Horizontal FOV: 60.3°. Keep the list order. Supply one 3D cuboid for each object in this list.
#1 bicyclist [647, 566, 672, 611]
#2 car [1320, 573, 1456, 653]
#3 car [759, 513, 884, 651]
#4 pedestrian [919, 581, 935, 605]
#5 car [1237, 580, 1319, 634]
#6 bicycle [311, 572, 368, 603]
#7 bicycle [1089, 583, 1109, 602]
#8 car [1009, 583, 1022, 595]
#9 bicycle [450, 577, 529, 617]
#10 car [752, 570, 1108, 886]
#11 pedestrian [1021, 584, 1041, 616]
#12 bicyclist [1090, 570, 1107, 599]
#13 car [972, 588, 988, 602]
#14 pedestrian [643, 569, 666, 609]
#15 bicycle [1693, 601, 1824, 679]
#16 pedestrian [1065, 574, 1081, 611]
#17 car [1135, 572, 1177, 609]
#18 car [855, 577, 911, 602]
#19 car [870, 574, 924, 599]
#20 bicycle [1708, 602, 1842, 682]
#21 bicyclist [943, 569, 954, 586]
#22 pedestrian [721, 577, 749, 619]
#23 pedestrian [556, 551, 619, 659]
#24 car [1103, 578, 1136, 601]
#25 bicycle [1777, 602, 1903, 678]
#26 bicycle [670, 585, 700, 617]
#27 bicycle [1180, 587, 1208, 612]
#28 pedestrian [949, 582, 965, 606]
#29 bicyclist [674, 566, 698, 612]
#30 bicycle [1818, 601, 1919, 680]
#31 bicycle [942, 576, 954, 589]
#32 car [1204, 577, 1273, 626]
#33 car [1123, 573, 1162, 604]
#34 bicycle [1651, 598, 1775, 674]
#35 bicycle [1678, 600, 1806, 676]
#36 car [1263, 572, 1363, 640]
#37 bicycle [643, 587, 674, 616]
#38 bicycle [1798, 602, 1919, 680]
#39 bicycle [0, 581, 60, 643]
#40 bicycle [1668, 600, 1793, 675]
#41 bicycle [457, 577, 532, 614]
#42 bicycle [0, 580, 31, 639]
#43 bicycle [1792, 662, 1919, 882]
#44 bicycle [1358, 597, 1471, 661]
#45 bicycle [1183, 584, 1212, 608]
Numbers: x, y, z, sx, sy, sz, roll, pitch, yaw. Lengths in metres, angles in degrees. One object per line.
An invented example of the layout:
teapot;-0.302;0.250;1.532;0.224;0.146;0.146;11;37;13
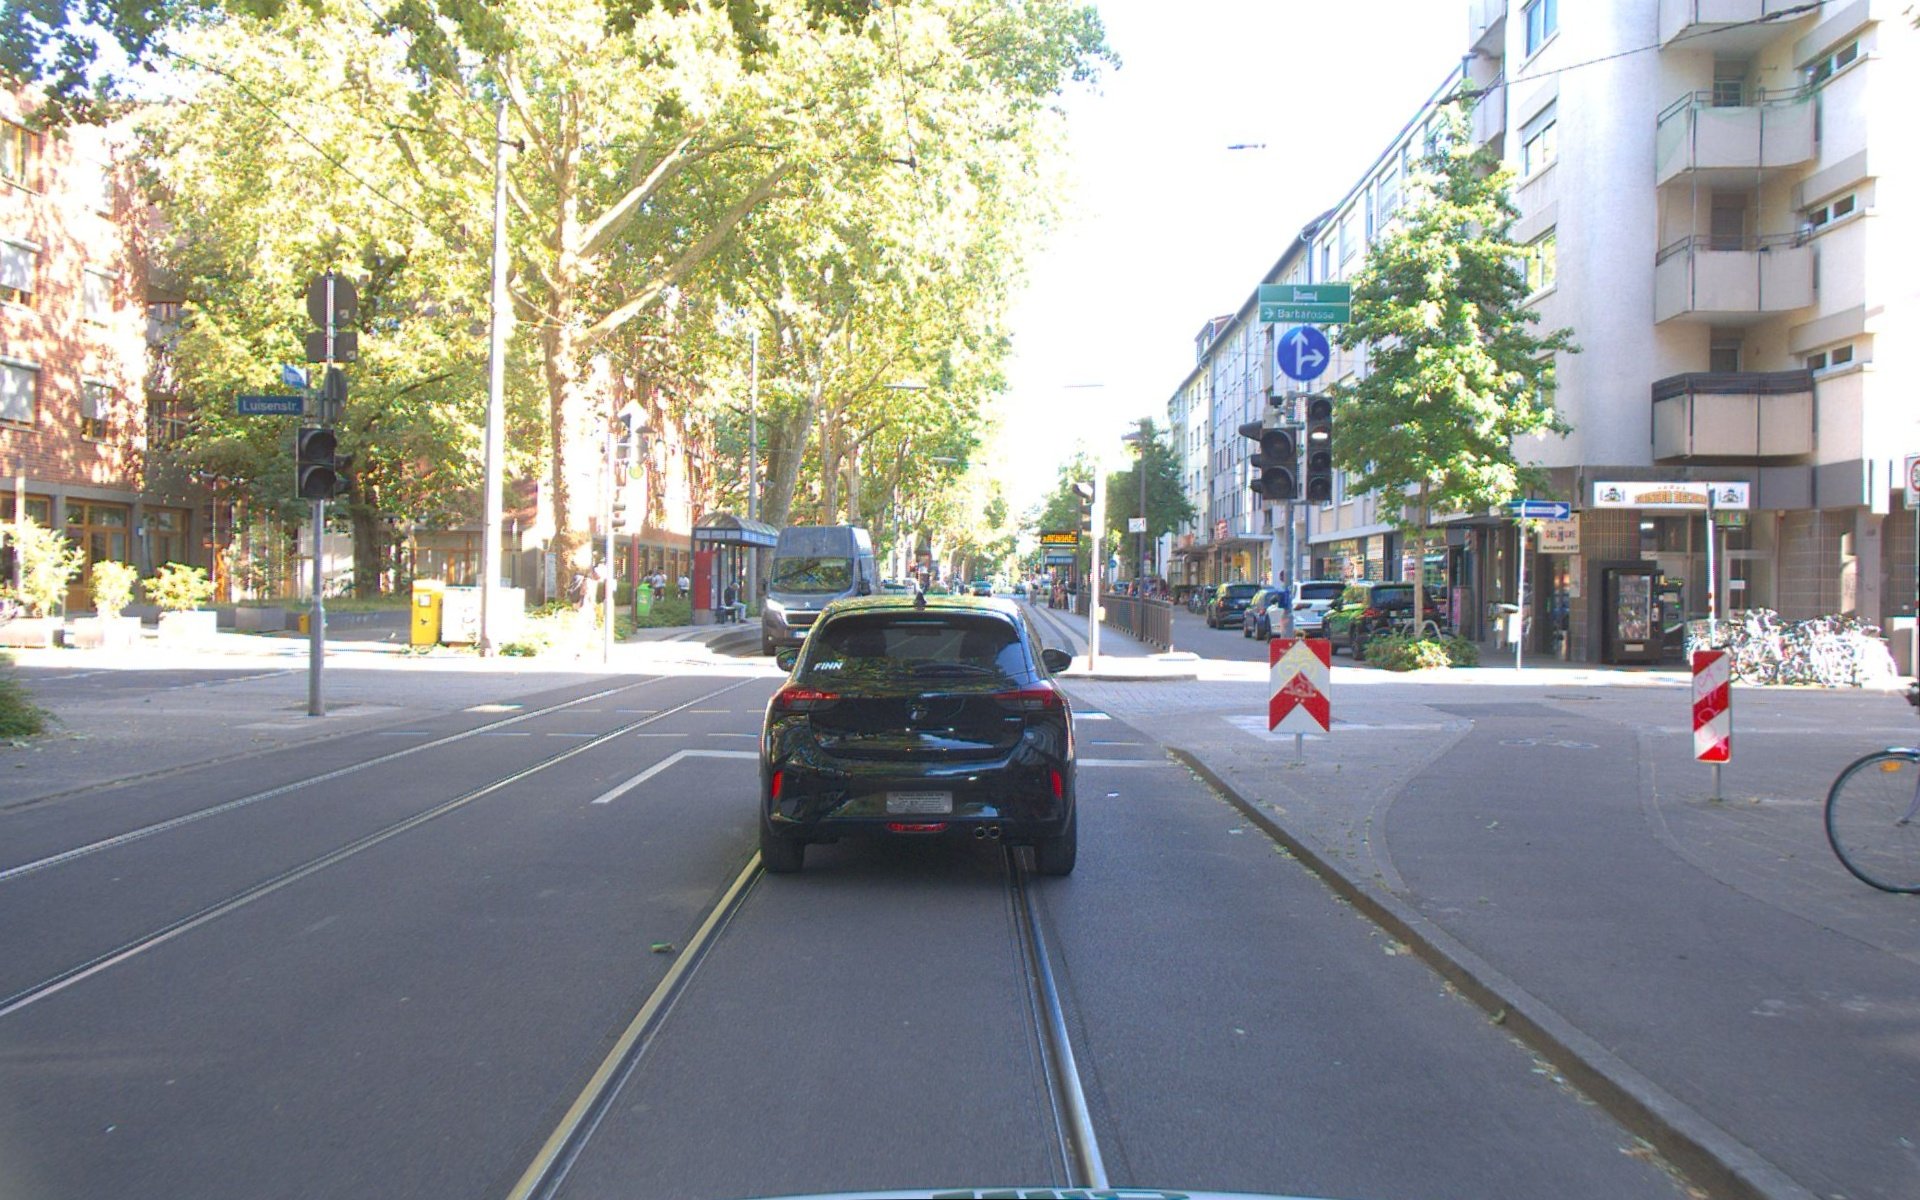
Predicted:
bicyclist;-11.889;-0.449;65.491;0.759;1.780;0.997;1;0;-1
car;9.248;0.268;36.092;1.952;1.644;4.446;0;0;2
car;-2.949;-0.362;36.591;2.070;2.786;6.116;0;0;2
pedestrian;-2.528;-0.524;126.479;1.141;1.779;0.957;1;0;-4
car;9.321;0.192;48.781;1.708;1.465;4.248;1;0;2
bicycle;-23.050;-0.472;61.475;1.907;1.092;0.762;1;0;-15
bicycle;8.742;-0.443;103.809;0.844;1.155;2.394;1;0;-4
car;7.642;-1.517;227.898;1.709;1.571;4.000;1;0;0
bicycle;-15.881;-0.109;55.866;2.407;1.240;0.682;3;0;2
car;-0.154;0.618;9.873;1.724;1.534;3.683;0;0;0
pedestrian;3.965;0.014;92.411;0.737;1.739;0.760;1;0;36
bicyclist;8.716;-0.979;104.288;0.844;1.790;1.052;1;0;-5
car;2.256;-0.549;185.910;1.709;1.571;4.000;1;0;0
pedestrian;-13.025;-0.474;70.522;0.720;1.701;0.861;1;0;2
bicycle;12.841;0.637;26.614;1.875;1.228;0.511;0;1;-2
pedestrian;4.998;-0.355;73.369;0.618;1.603;0.871;3;1;2
car;11.069;-0.523;93.648;1.952;1.986;4.000;1;0;1
car;-5.784;-0.769;123.602;4.034;1.730;1.881;1;0;-6
car;-5.150;-1.079;135.368;4.299;1.883;1.998;1;0;-6
bicycle;12.845;0.650;26.082;1.875;1.228;0.511;0;1;-2
bicyclist;-1.149;-2.292;167.784;0.921;1.732;1.153;1;0;5
pedestrian;-6.469;-0.065;47.578;0.691;1.189;0.659;-1;0;-2
pedestrian;-6.658;0.081;29.590;0.905;1.867;0.920;1;2;-2
car;10.842;-0.688;112.553;1.952;1.512;4.001;1;0;2
bicycle;14.898;0.671;28.007;1.875;1.229;0.511;1;-1;-2
bicycle;-10.905;0.032;65.669;0.766;1.212;2.595;1;0;-1
bicycle;11.226;-0.033;79.353;0.610;1.155;2.434;1;0;-9
pedestrian;-0.202;-0.462;125.841;1.141;1.779;0.957;1;0;-4
bicyclist;-10.880;-0.421;65.709;0.766;1.794;0.951;1;0;-1
bicycle;14.939;0.656;26.732;1.875;1.228;0.511;1;1;-2
bicycle;-1.238;-1.741;166.873;0.935;1.262;2.979;1;0;5
car;9.919;0.051;59.236;1.818;1.644;4.399;1;0;2
car;11.027;-0.678;100.303;1.952;1.829;4.000;1;0;1
bicycle;12.847;0.610;28.240;1.875;1.229;0.511;1;0;-2
bicycle;12.832;0.615;27.149;1.875;1.228;0.511;0;1;-2
car;9.171;0.149;43.257;1.762;1.634;4.416;1;0;2
bicycle;-11.915;0.052;65.378;0.766;1.130;2.595;1;0;-1
bicycle;14.914;0.678;27.344;1.875;1.229;0.511;2;0;-2
bicycle;-18.289;0.224;32.342;0.530;1.103;1.537;1;3;0
bicycle;12.892;0.616;27.704;1.875;1.228;0.511;0;1;-2
bicycle;-15.836;-0.152;56.303;2.292;1.186;0.682;2;0;2
bicycle;-18.903;0.196;32.350;0.530;1.103;1.639;1;2;0
bicycle;5.077;0.842;8.076;1.778;1.011;0.481;1;0;-1
bicycle;9.018;0.569;32.870;2.081;1.208;0.681;1;0;10
bicycle;12.069;-0.198;84.109;0.600;1.155;2.915;1;0;-9
